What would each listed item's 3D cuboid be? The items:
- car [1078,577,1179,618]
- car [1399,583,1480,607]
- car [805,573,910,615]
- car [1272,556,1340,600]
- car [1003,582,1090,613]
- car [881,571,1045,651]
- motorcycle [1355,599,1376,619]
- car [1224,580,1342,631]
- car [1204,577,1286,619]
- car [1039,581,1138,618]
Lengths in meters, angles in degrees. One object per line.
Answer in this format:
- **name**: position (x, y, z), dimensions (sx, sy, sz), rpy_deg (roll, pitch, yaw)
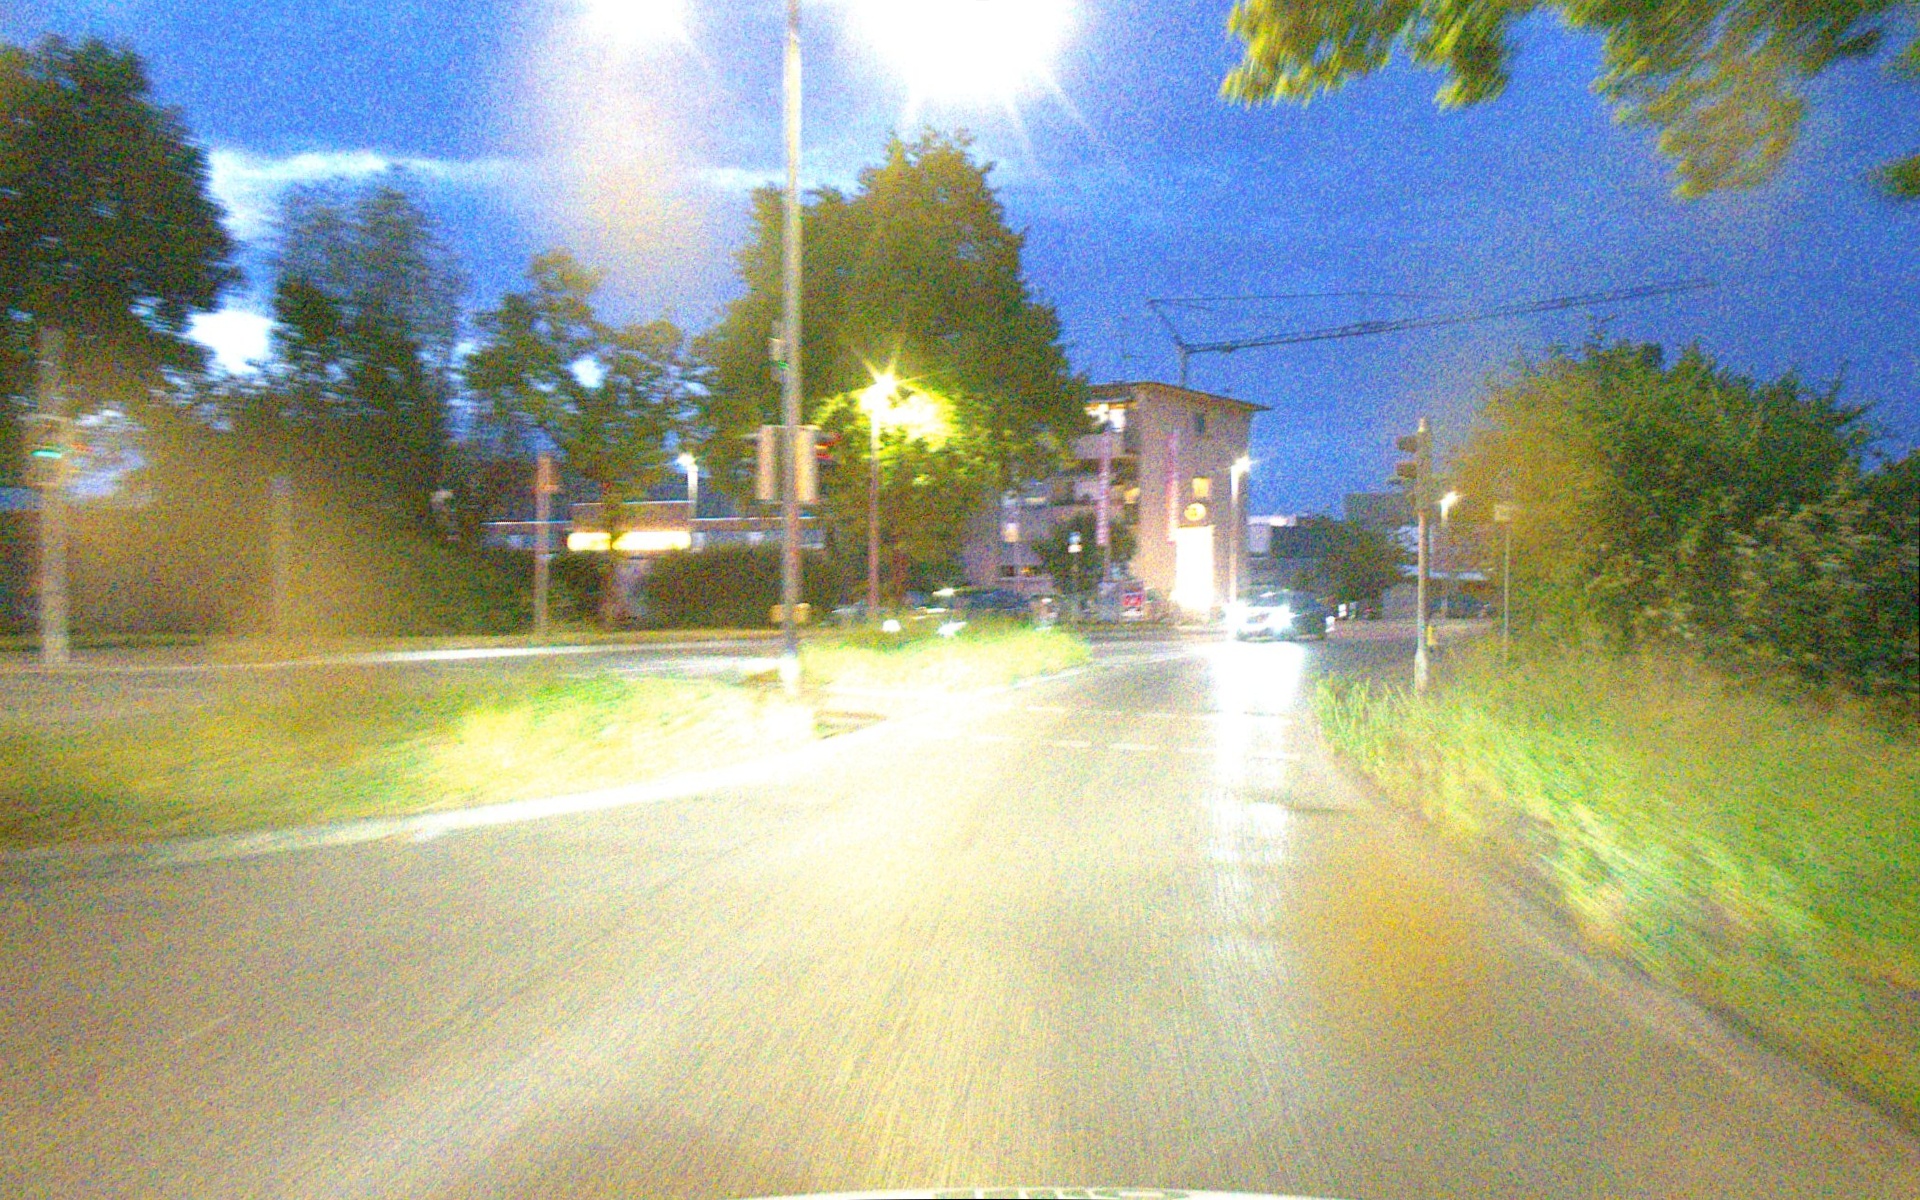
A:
- **car**: position (6.183, -0.101, 60.518), dimensions (3.664, 1.445, 1.528), rpy_deg (0, 1, -40)
- **car**: position (28.113, -0.270, 96.984), dimensions (4.268, 1.383, 1.639), rpy_deg (0, 0, 31)
- **car**: position (-3.626, -0.196, 58.463), dimensions (3.434, 1.383, 1.495), rpy_deg (-1, -1, 26)
- **car**: position (17.203, -1.123, 82.138), dimensions (1.959, 2.048, 3.988), rpy_deg (3, 3, 34)
- **car**: position (3.345, -0.112, 63.883), dimensions (3.183, 1.151, 1.527), rpy_deg (0, 1, -40)
- **car**: position (0.154, 0.208, 33.791), dimensions (1.724, 1.471, 4.526), rpy_deg (1, 0, 23)
- **motorcycle**: position (24.335, 0.527, 99.234), dimensions (0.965, 1.164, 1.848), rpy_deg (1, 1, 23)
- **car**: position (9.751, 0.148, 49.617), dimensions (1.730, 1.427, 4.570), rpy_deg (1, 1, 36)
- **car**: position (11.808, -0.090, 68.220), dimensions (1.724, 1.635, 4.439), rpy_deg (1, 1, 33)
- **car**: position (4.826, -0.031, 62.046), dimensions (3.663, 1.334, 1.528), rpy_deg (0, 1, -39)
